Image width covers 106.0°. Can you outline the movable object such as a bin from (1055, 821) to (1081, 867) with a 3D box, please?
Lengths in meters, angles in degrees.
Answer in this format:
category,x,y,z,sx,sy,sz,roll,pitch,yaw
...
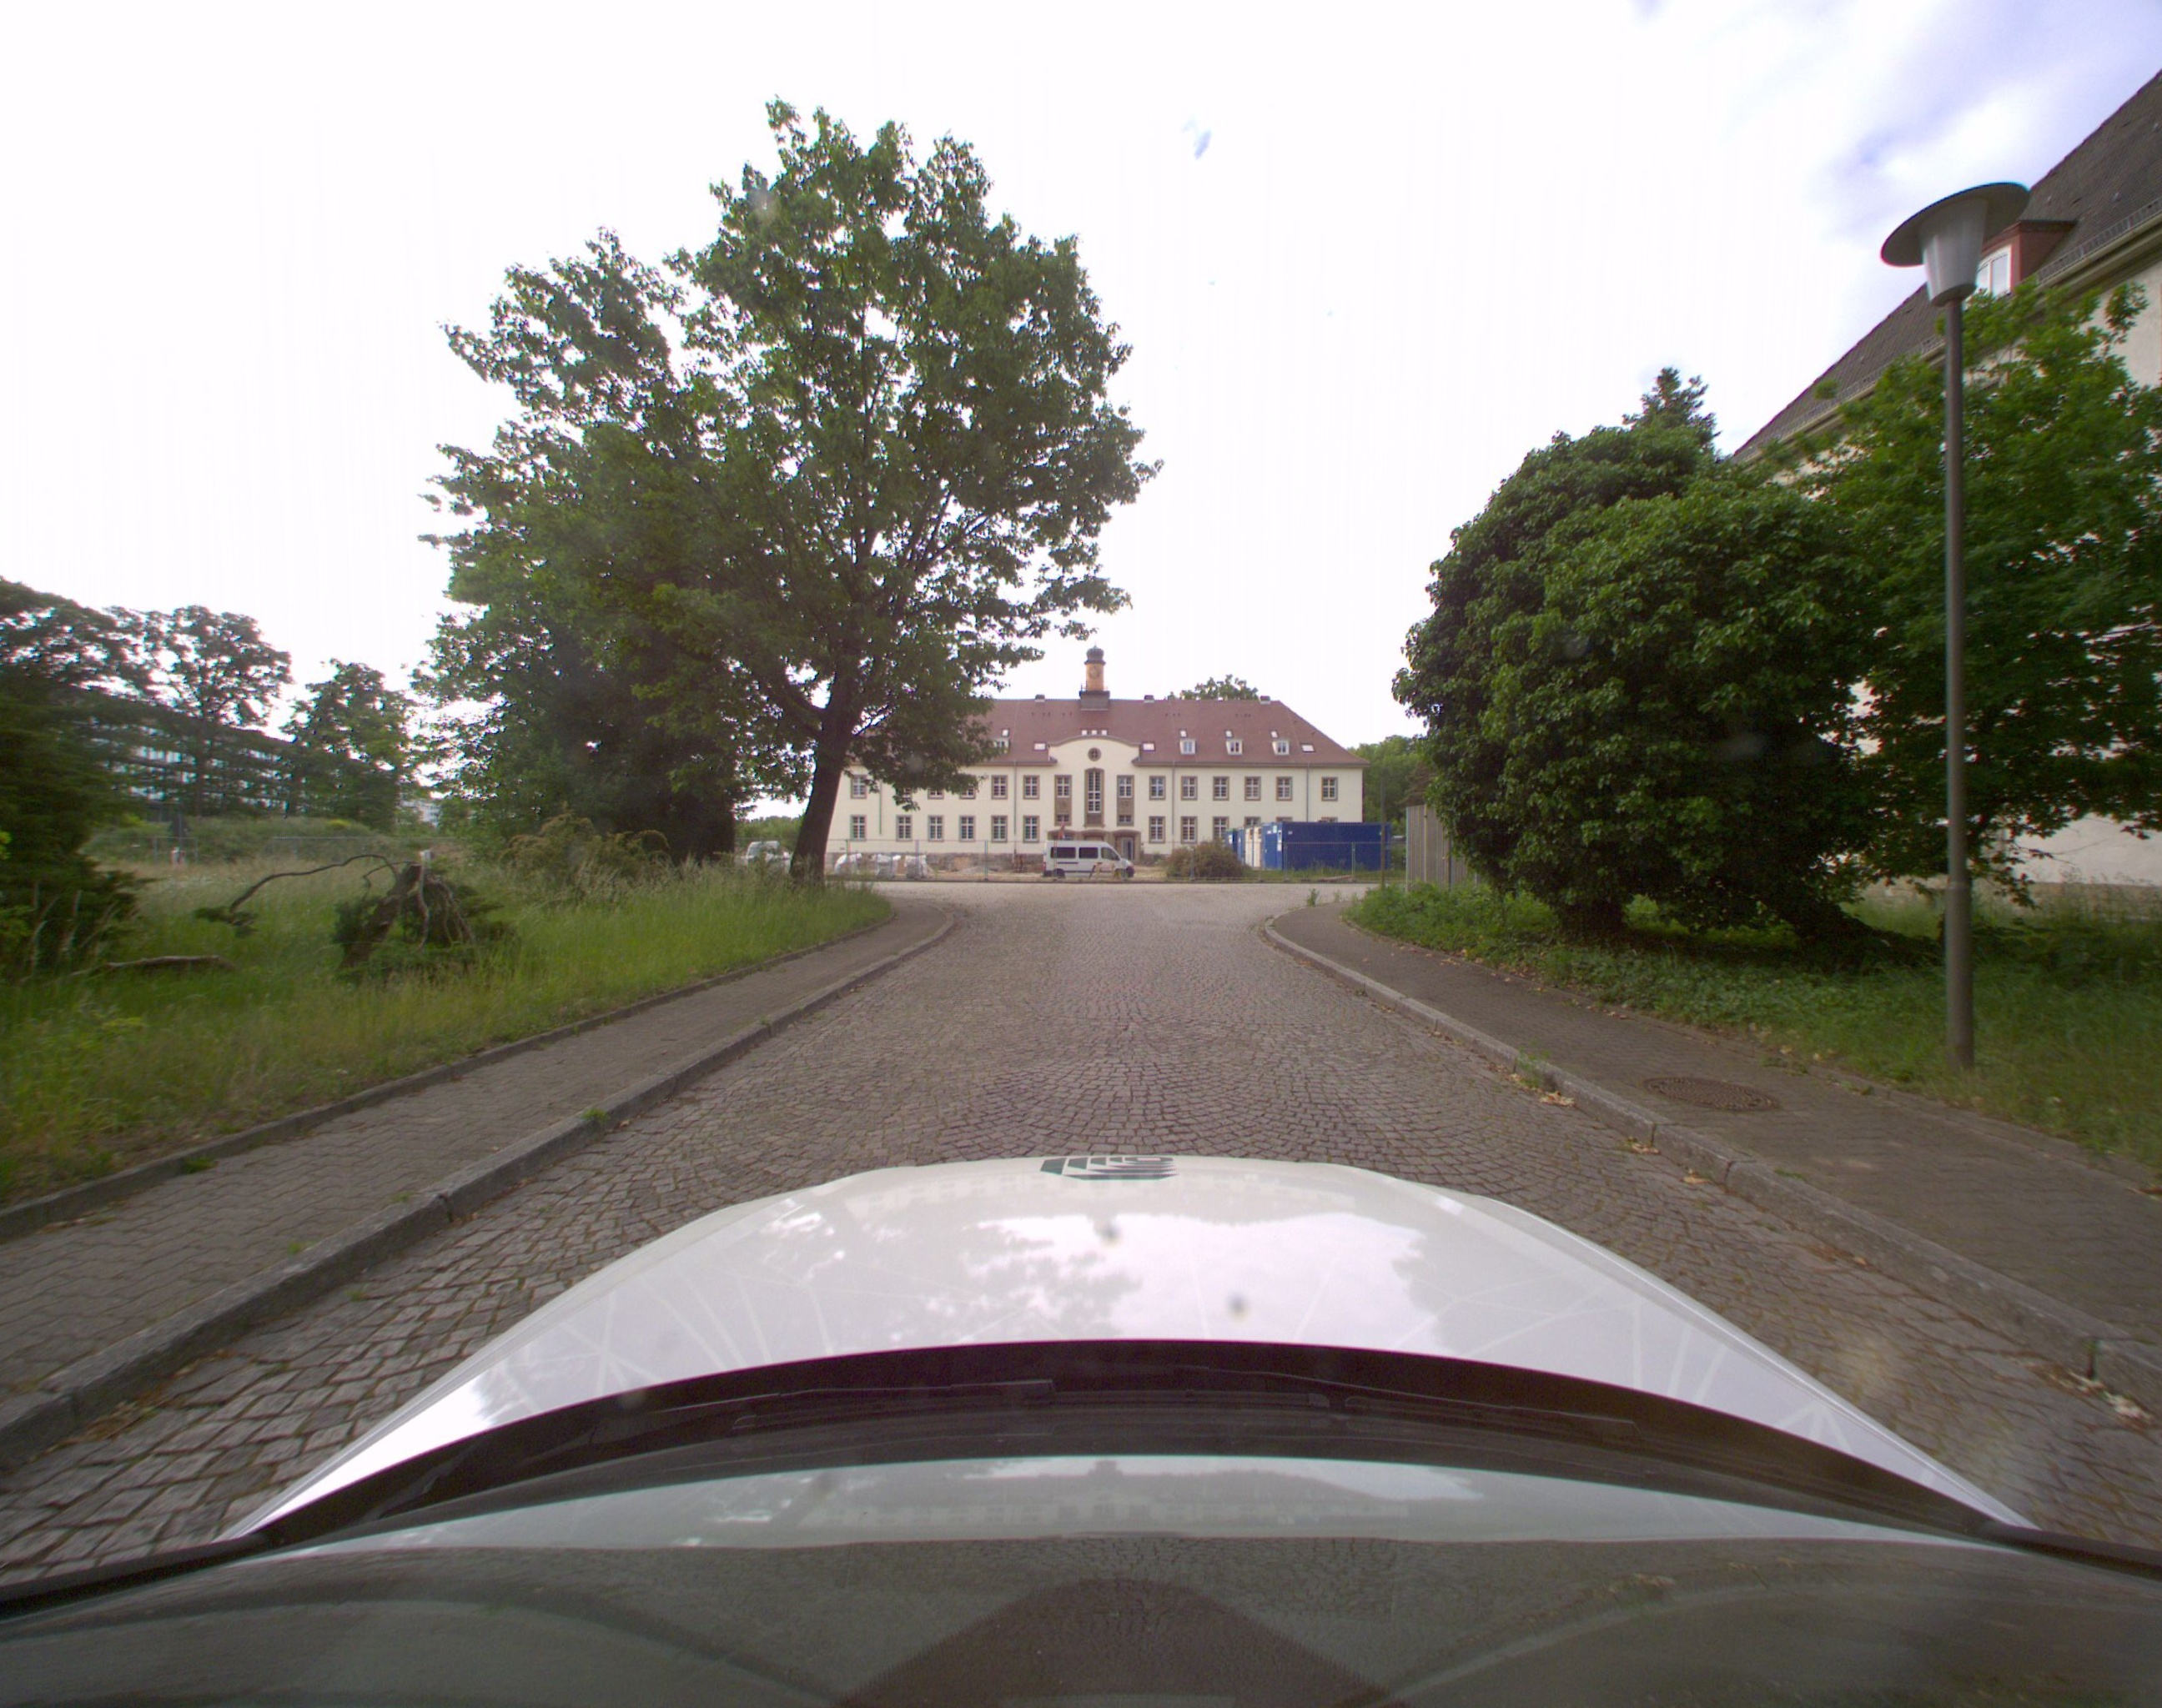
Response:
category,x,y,z,sx,sy,sz,roll,pitch,yaw
movable object such as a bin,-1.127,-0.806,68.715,1.989,3.771,5.311,0,0,-3

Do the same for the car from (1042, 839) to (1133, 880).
category,x,y,z,sx,sy,sz,roll,pitch,yaw
car,0.399,0.296,47.710,5.243,2.344,1.911,0,0,1

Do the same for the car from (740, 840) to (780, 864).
category,x,y,z,sx,sy,sz,roll,pitch,yaw
car,-29.264,-0.206,74.380,2.064,2.150,4.889,0,0,-6
